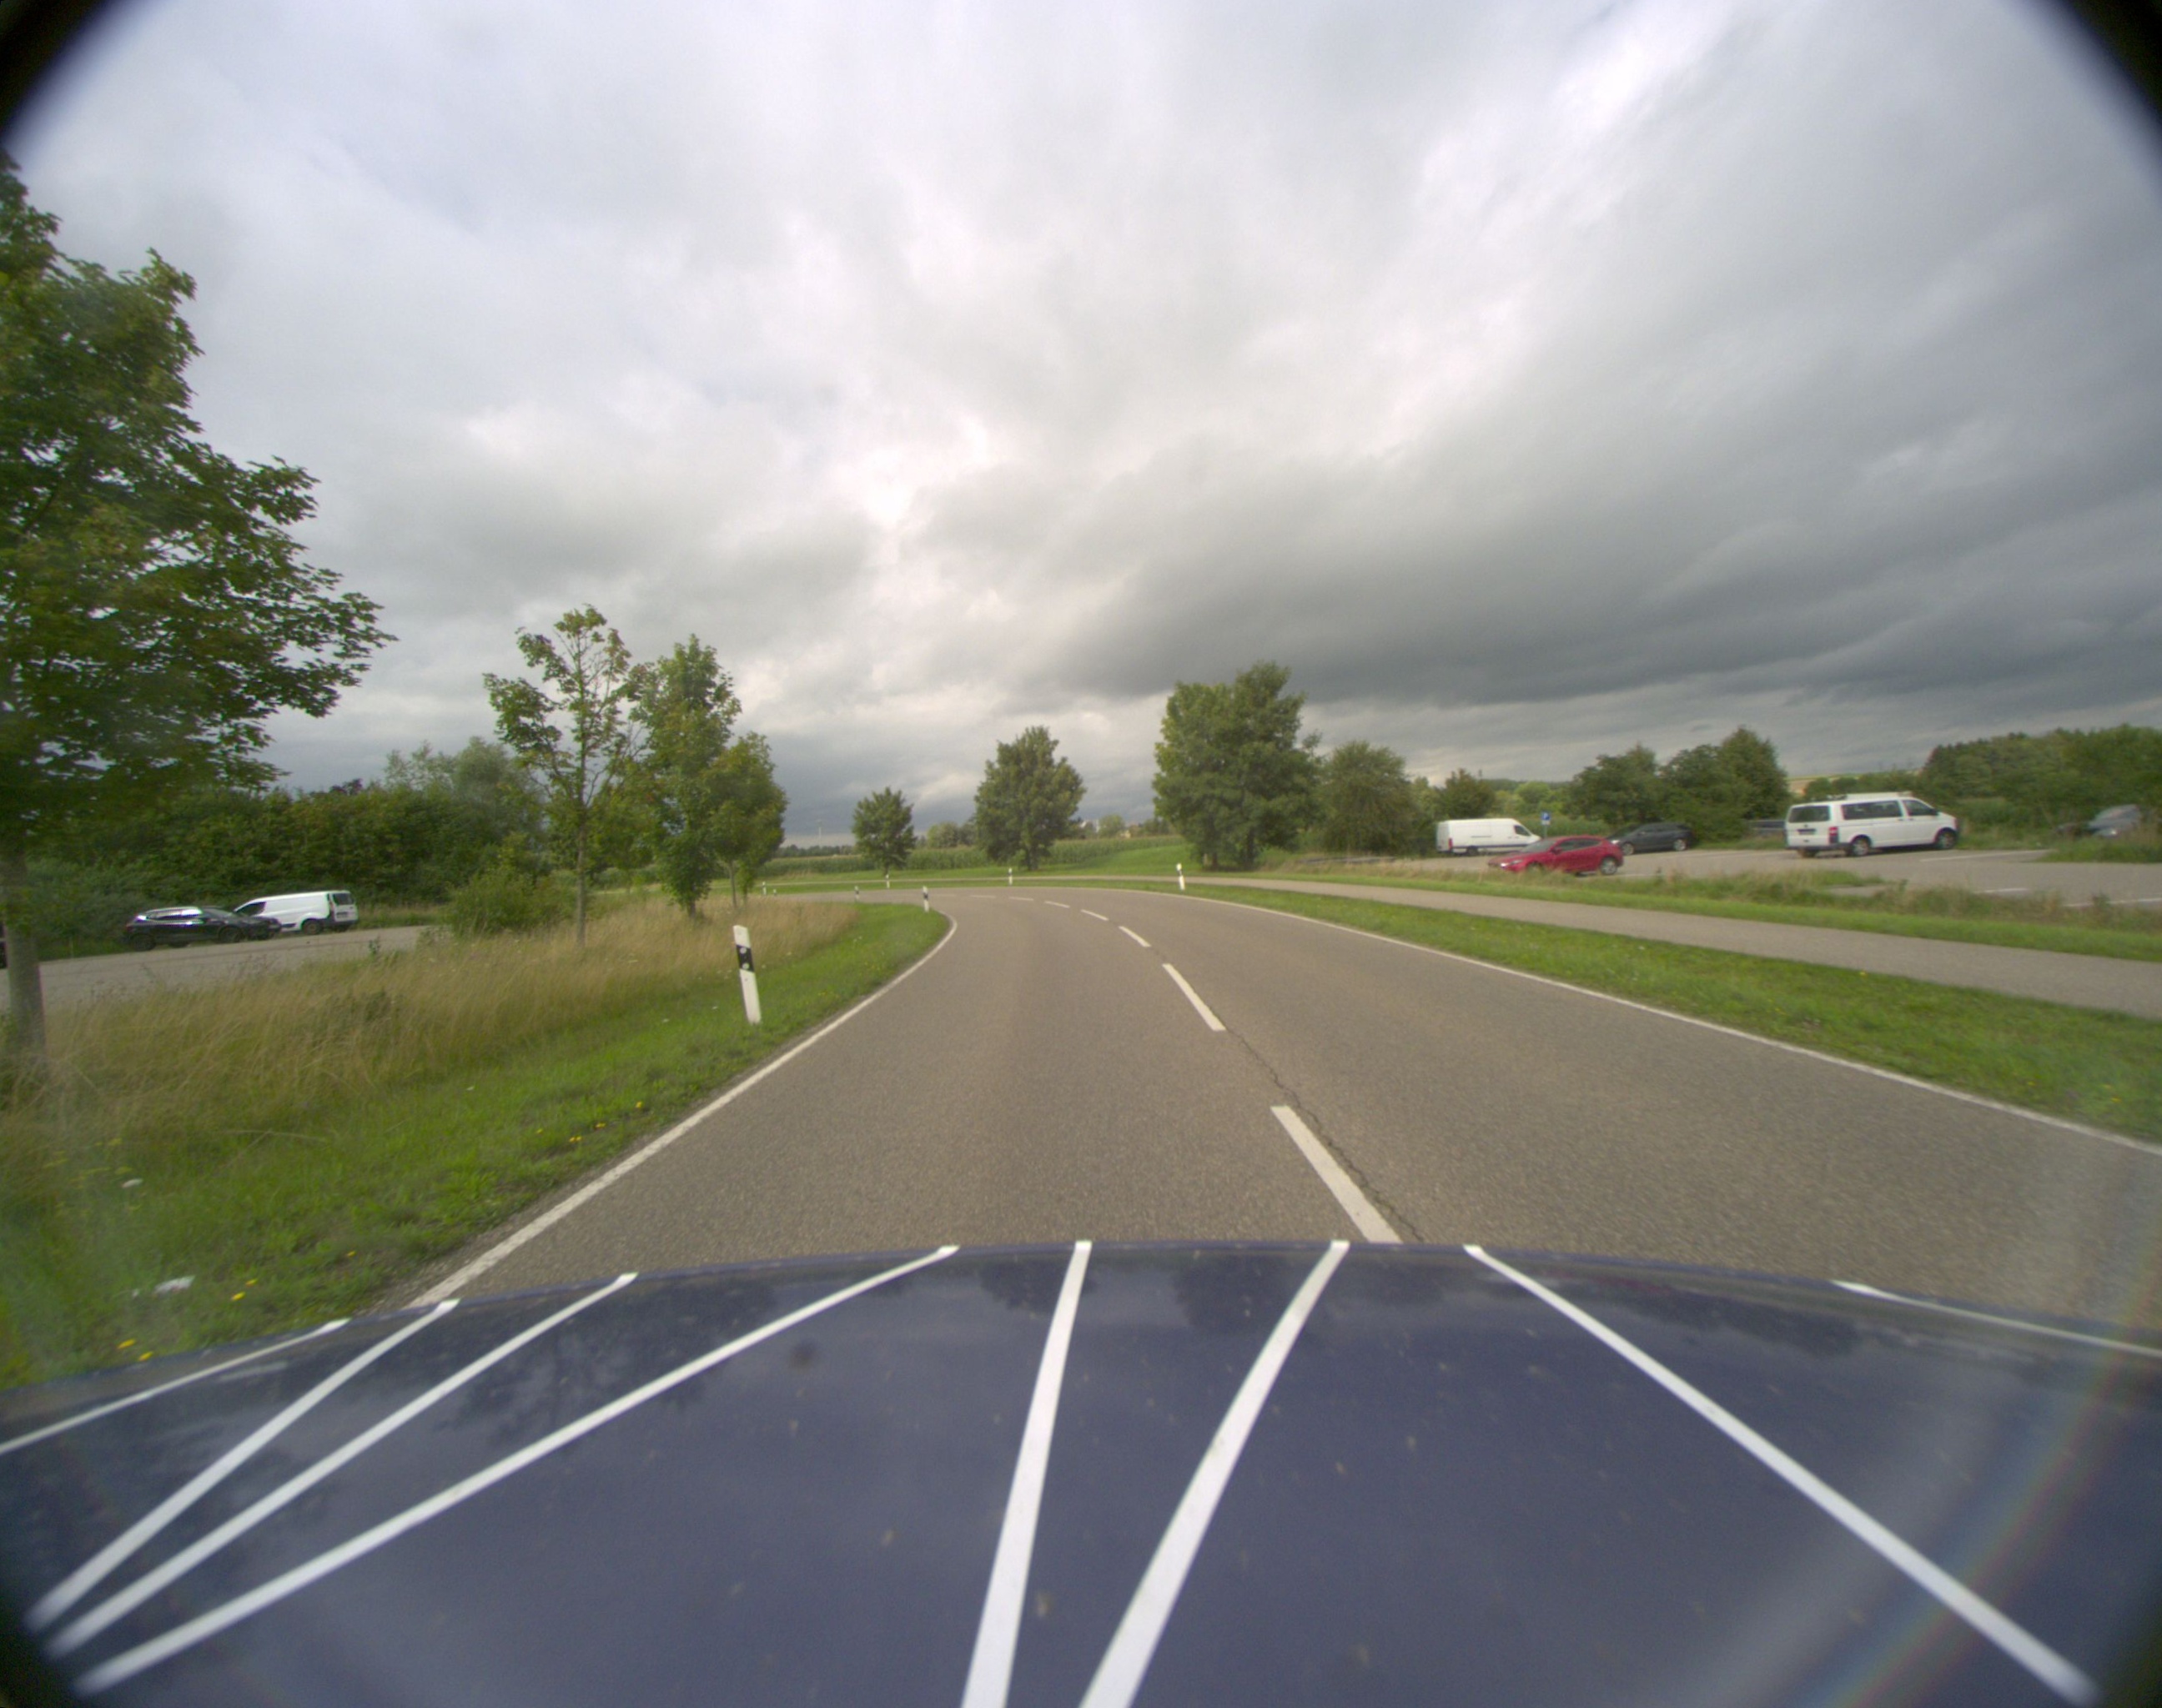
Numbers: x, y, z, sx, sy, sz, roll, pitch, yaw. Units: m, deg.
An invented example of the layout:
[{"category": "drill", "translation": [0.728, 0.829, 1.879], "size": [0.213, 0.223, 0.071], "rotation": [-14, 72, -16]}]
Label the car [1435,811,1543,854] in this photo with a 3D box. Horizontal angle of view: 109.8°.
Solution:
[{"category": "car", "translation": [28.504, -1.462, 53.233], "size": [6.331, 2.604, 2.200], "rotation": [-3, 1, -1]}]

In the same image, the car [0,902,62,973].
[{"category": "car", "translation": [-31.954, 2.452, 21.052], "size": [4.001, 1.849, 1.997], "rotation": [-3, 1, -14]}]

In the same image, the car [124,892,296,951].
[{"category": "car", "translation": [-33.629, 2.565, 29.474], "size": [4.001, 1.849, 1.742], "rotation": [-3, 1, -14]}]

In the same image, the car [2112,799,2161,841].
[{"category": "car", "translation": [42.406, -1.344, 28.408], "size": [1.997, 1.613, 4.453], "rotation": [-3, 1, 9]}]

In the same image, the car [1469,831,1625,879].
[{"category": "car", "translation": [16.318, 0.016, 26.764], "size": [4.376, 1.408, 1.813], "rotation": [-3, 1, -2]}]

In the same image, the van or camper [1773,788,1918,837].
[{"category": "van or camper", "translation": [44.675, -2.393, 44.494], "size": [6.044, 2.333, 2.285], "rotation": [-4, 1, 1]}]

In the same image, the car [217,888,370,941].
[{"category": "car", "translation": [-33.703, 2.544, 32.667], "size": [4.001, 1.849, 1.997], "rotation": [-3, 1, -14]}]

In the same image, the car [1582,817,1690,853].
[{"category": "car", "translation": [27.022, -0.913, 37.067], "size": [3.998, 1.516, 1.793], "rotation": [-3, 1, -3]}]

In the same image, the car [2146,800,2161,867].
[{"category": "car", "translation": [27.072, -0.625, 16.913], "size": [3.997, 1.543, 1.965], "rotation": [-5, 1, -1]}]

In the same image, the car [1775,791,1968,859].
[{"category": "car", "translation": [27.659, -0.992, 26.677], "size": [4.694, 1.915, 2.060], "rotation": [-5, 1, -3]}]
